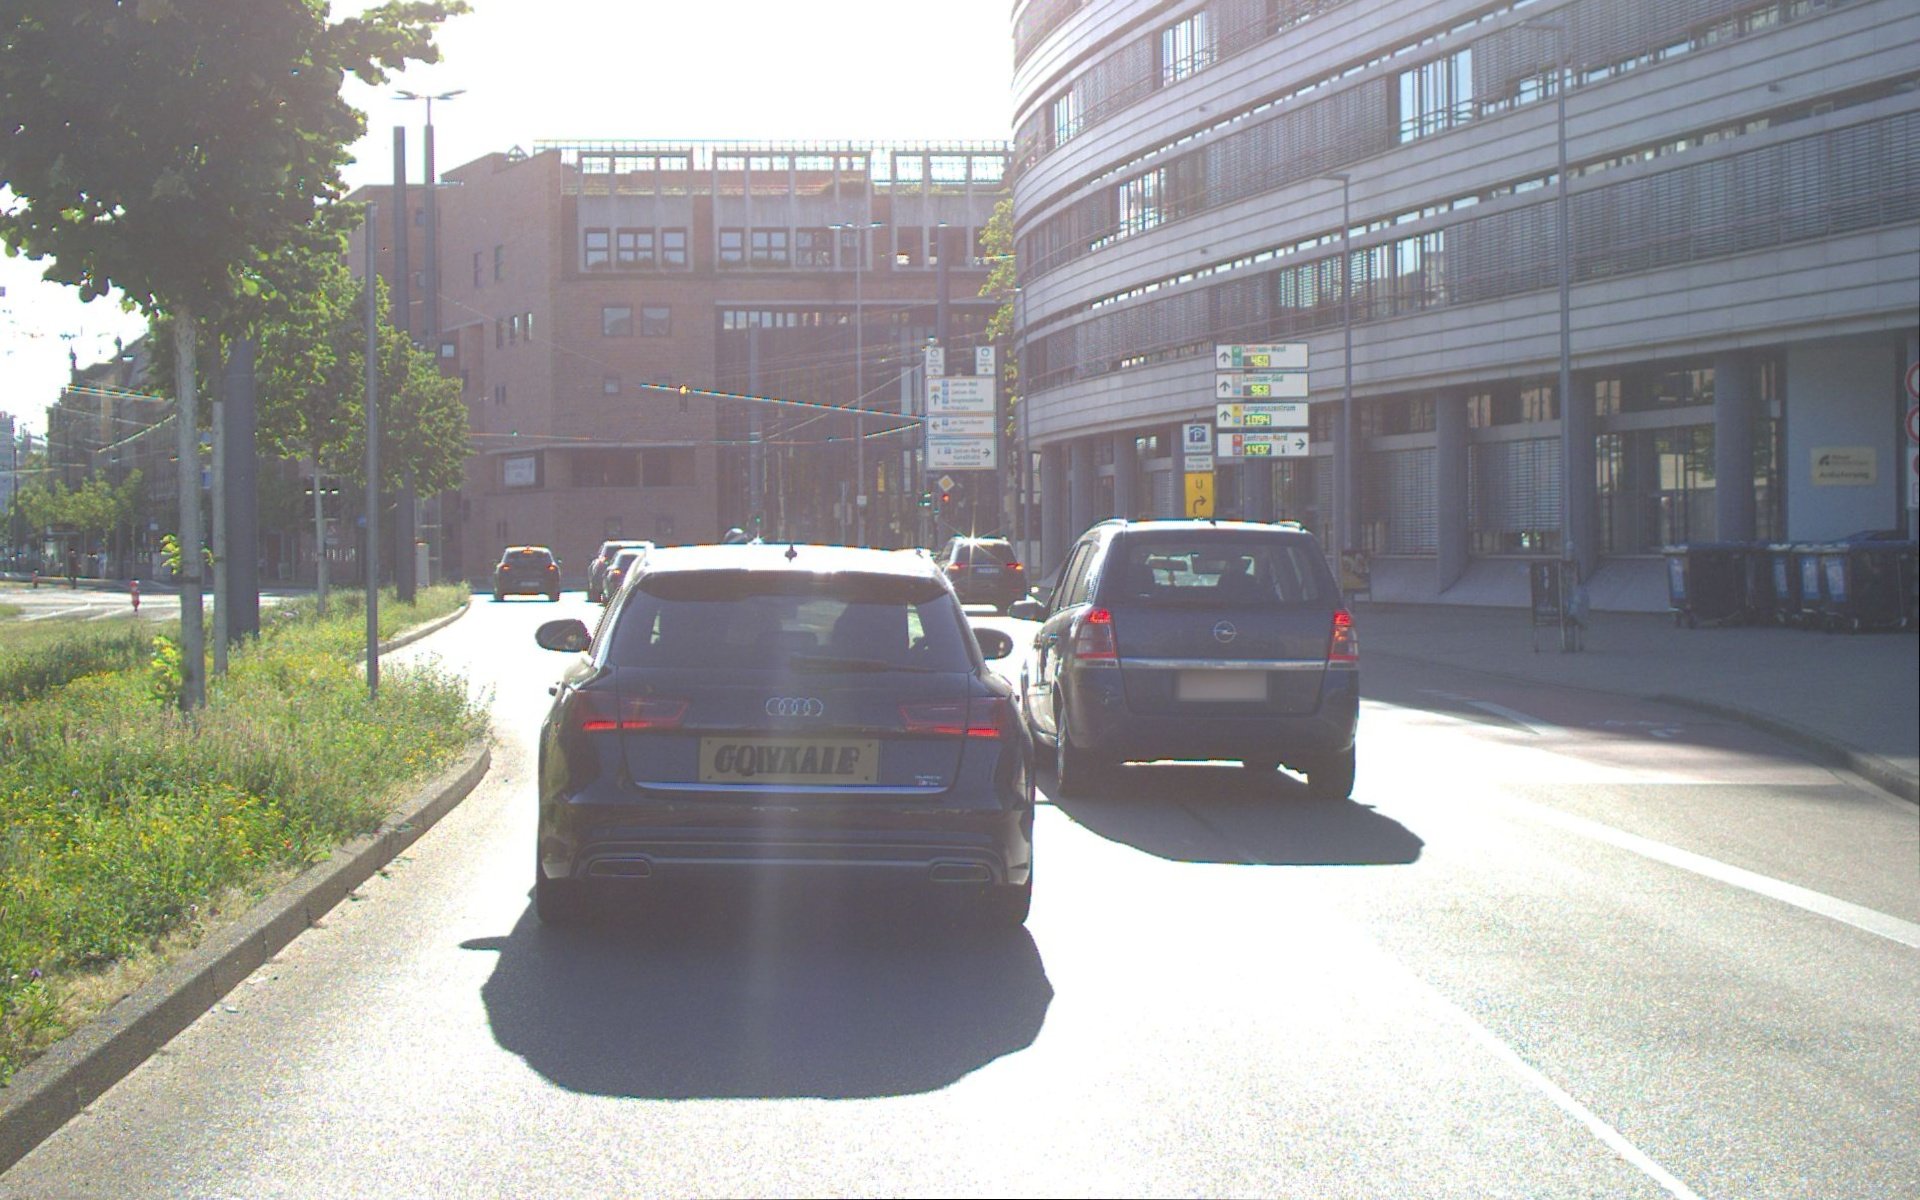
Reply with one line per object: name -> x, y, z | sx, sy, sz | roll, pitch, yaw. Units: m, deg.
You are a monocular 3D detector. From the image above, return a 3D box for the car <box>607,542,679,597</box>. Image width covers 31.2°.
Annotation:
car -> -8.057, -0.785, 87.191 | 1.737, 1.345, 4.001 | 0, 1, -6

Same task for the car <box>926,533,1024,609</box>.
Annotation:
car -> 0.321, -0.713, 82.373 | 1.993, 1.744, 4.329 | -1, 1, -4

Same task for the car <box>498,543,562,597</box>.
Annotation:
car -> -11.645, -0.818, 93.270 | 1.649, 1.428, 4.001 | 0, 1, -6

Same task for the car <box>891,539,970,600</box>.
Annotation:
car -> -0.840, -0.865, 95.526 | 1.993, 1.645, 4.001 | 0, 1, -3

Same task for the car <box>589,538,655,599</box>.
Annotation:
car -> -9.281, -0.872, 94.167 | 1.737, 1.645, 4.001 | 0, 1, -6

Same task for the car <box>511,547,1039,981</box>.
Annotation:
car -> -0.726, 0.533, 14.127 | 1.811, 1.487, 4.496 | 0, 1, -2

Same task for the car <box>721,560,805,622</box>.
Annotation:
car -> -4.860, -0.239, 84.292 | 1.807, 1.452, 4.001 | 1, 1, -7

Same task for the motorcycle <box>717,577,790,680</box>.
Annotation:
motorcycle -> -2.339, 0.306, 38.781 | 0.775, 1.111, 1.969 | -1, 1, -5

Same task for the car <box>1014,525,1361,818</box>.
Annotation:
car -> 1.309, 0.366, 21.455 | 1.688, 1.623, 4.463 | 0, 1, -2

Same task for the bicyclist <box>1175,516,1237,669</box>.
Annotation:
bicyclist -> 2.906, -0.100, 40.666 | 0.577, 1.785, 0.864 | -1, 1, -6

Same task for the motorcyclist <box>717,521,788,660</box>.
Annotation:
motorcyclist -> -2.323, -0.116, 38.403 | 0.744, 1.525, 1.021 | -1, 1, -5
